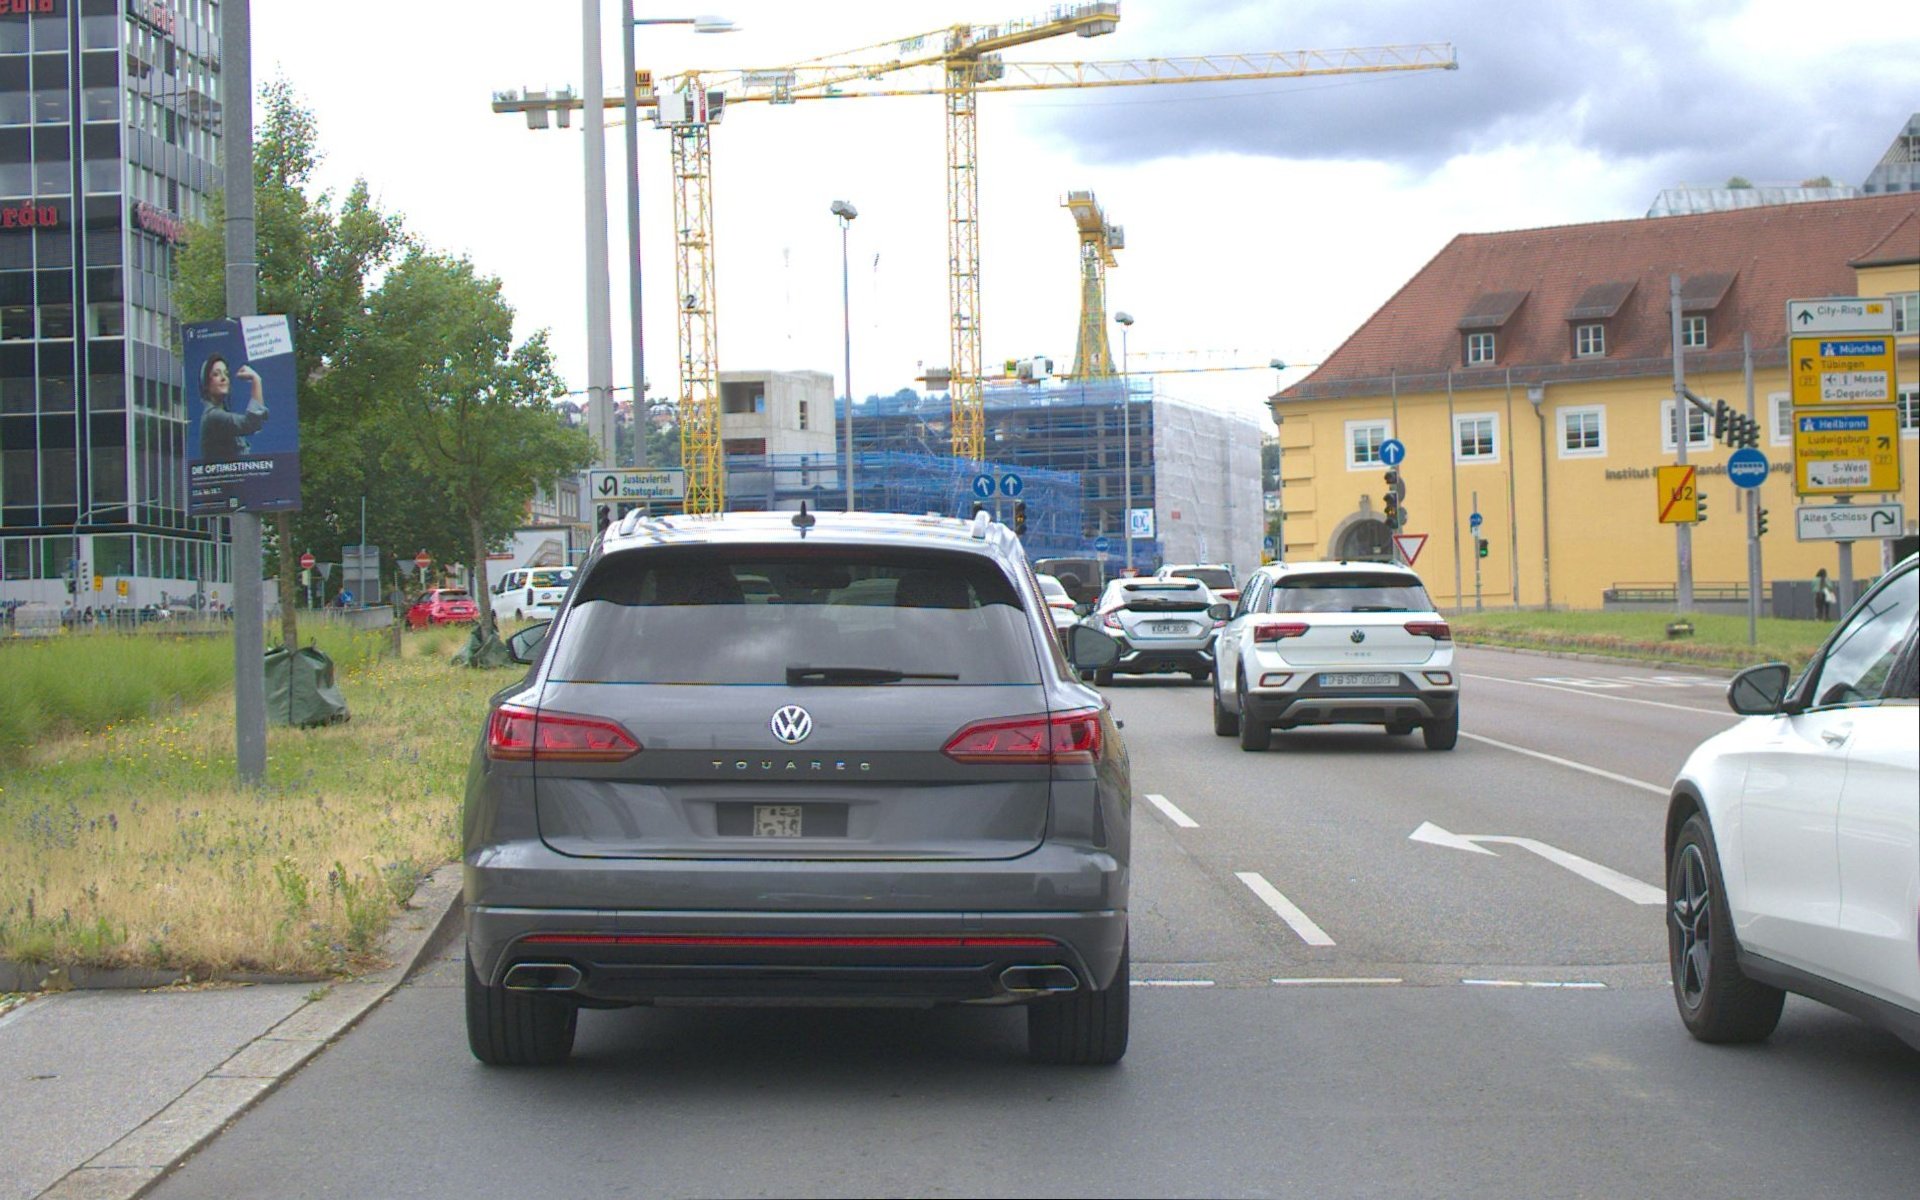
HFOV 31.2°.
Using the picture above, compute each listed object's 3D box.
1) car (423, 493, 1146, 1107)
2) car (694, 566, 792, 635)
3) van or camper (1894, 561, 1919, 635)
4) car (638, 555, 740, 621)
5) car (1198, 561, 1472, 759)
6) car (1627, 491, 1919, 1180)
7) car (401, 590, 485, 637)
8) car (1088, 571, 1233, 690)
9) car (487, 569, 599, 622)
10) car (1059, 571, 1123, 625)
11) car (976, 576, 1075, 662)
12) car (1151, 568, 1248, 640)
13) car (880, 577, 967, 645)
[{"bbox_3d":[-0.497,0.516,11.224,1.933,1.641,4.000,0,1,-1],"label":"car"},{"bbox_3d":[-4.880,-0.012,77.048,1.814,1.491,3.907,0,1,-9],"label":"car"},{"bbox_3d":[28.651,-0.069,93.300,6.017,2.007,2.015,0,0,35],"label":"van or camper"},{"bbox_3d":[-7.882,-0.371,99.596,1.893,1.605,4.002,-1,5,-21],"label":"car"},{"bbox_3d":[3.120,0.460,29.298,1.893,1.580,3.801,0,1,0],"label":"car"},{"bbox_3d":[3.171,0.550,9.200,1.819,1.641,4.379,0,1,-1],"label":"car"},{"bbox_3d":[-16.782,0.415,111.483,1.718,1.497,3.982,0,0,-24],"label":"car"},{"bbox_3d":[2.636,0.371,45.868,1.719,1.497,4.144,0,1,1],"label":"car"},{"bbox_3d":[-12.253,-0.158,100.837,2.244,1.497,4.612,0,1,-21],"label":"car"},{"bbox_3d":[3.715,-0.065,97.925,1.719,1.497,3.981,0,1,1],"label":"car"},{"bbox_3d":[1.226,0.323,62.910,1.719,1.497,3.981,1,0,2],"label":"car"},{"bbox_3d":[5.060,0.064,73.064,1.803,1.497,3.981,0,1,1],"label":"car"},{"bbox_3d":[-0.868,0.231,79.303,1.814,1.491,3.907,-1,1,-3],"label":"car"}]
